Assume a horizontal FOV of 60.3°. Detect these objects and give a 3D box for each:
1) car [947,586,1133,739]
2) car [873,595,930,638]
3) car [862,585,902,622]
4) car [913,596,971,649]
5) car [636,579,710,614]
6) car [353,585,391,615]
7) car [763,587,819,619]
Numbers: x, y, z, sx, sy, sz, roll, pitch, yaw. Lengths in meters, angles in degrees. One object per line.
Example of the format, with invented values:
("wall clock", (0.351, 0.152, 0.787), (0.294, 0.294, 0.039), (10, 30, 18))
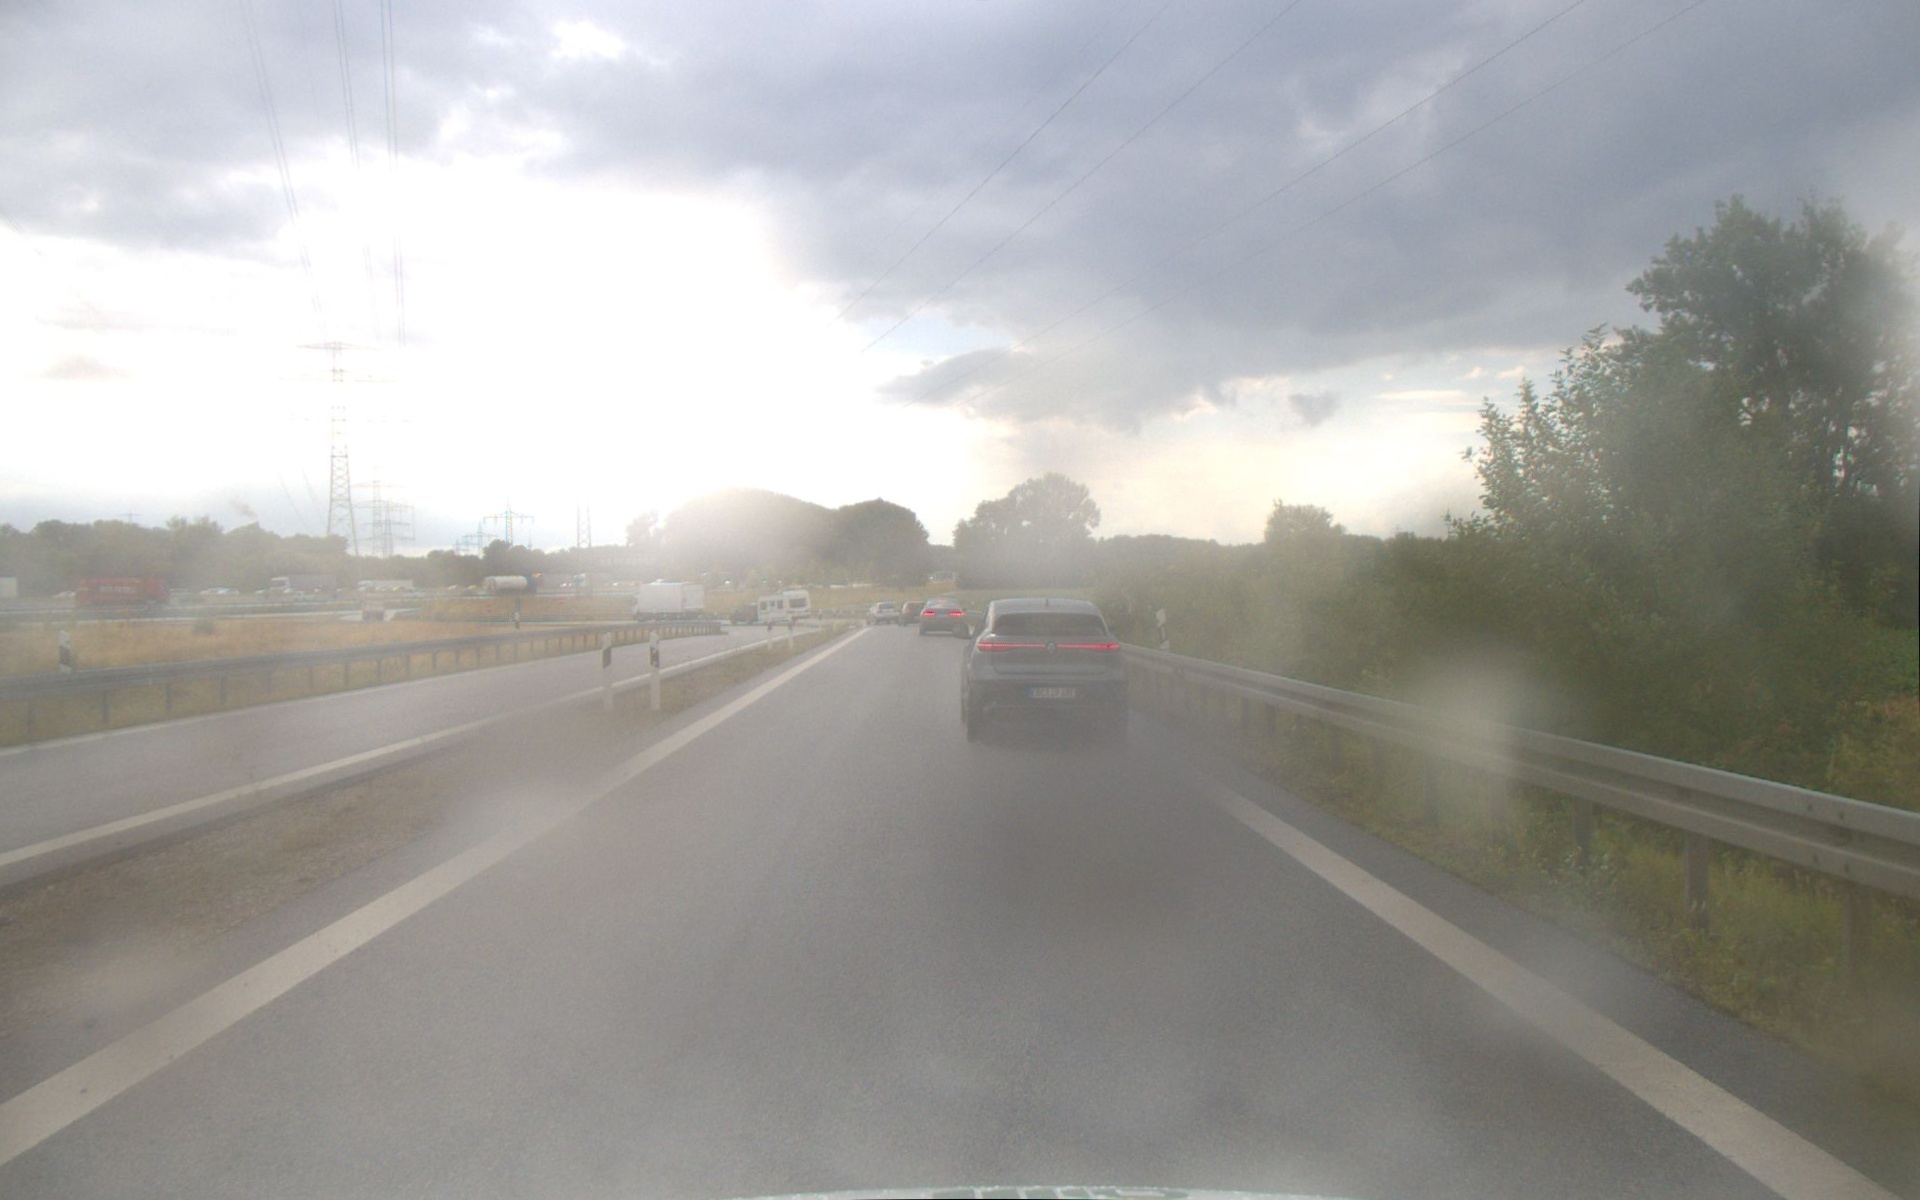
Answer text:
("car", (0.880, 0.645, 19.528), (1.952, 1.594, 4.149), (1, 0, 1))
("car", (-3.603, 0.972, 101.135), (2.313, 2.346, 5.107), (-1, 3, -16))
("car", (-5.606, 0.217, 118.524), (2.307, 2.346, 5.119), (-1, 2, -9))
("car", (-0.814, 0.893, 69.861), (2.079, 2.053, 5.530), (-1, 1, -4))
("car", (-26.521, -0.368, 152.767), (7.087, 3.002, 3.125), (2, 3, 44))
("car", (-73.413, -0.012, 206.390), (3.342, 3.673, 8.968), (-1, 0, -26))
("car", (-13.857, 0.207, 135.424), (2.332, 2.347, 5.066), (-2, 3, -35))
